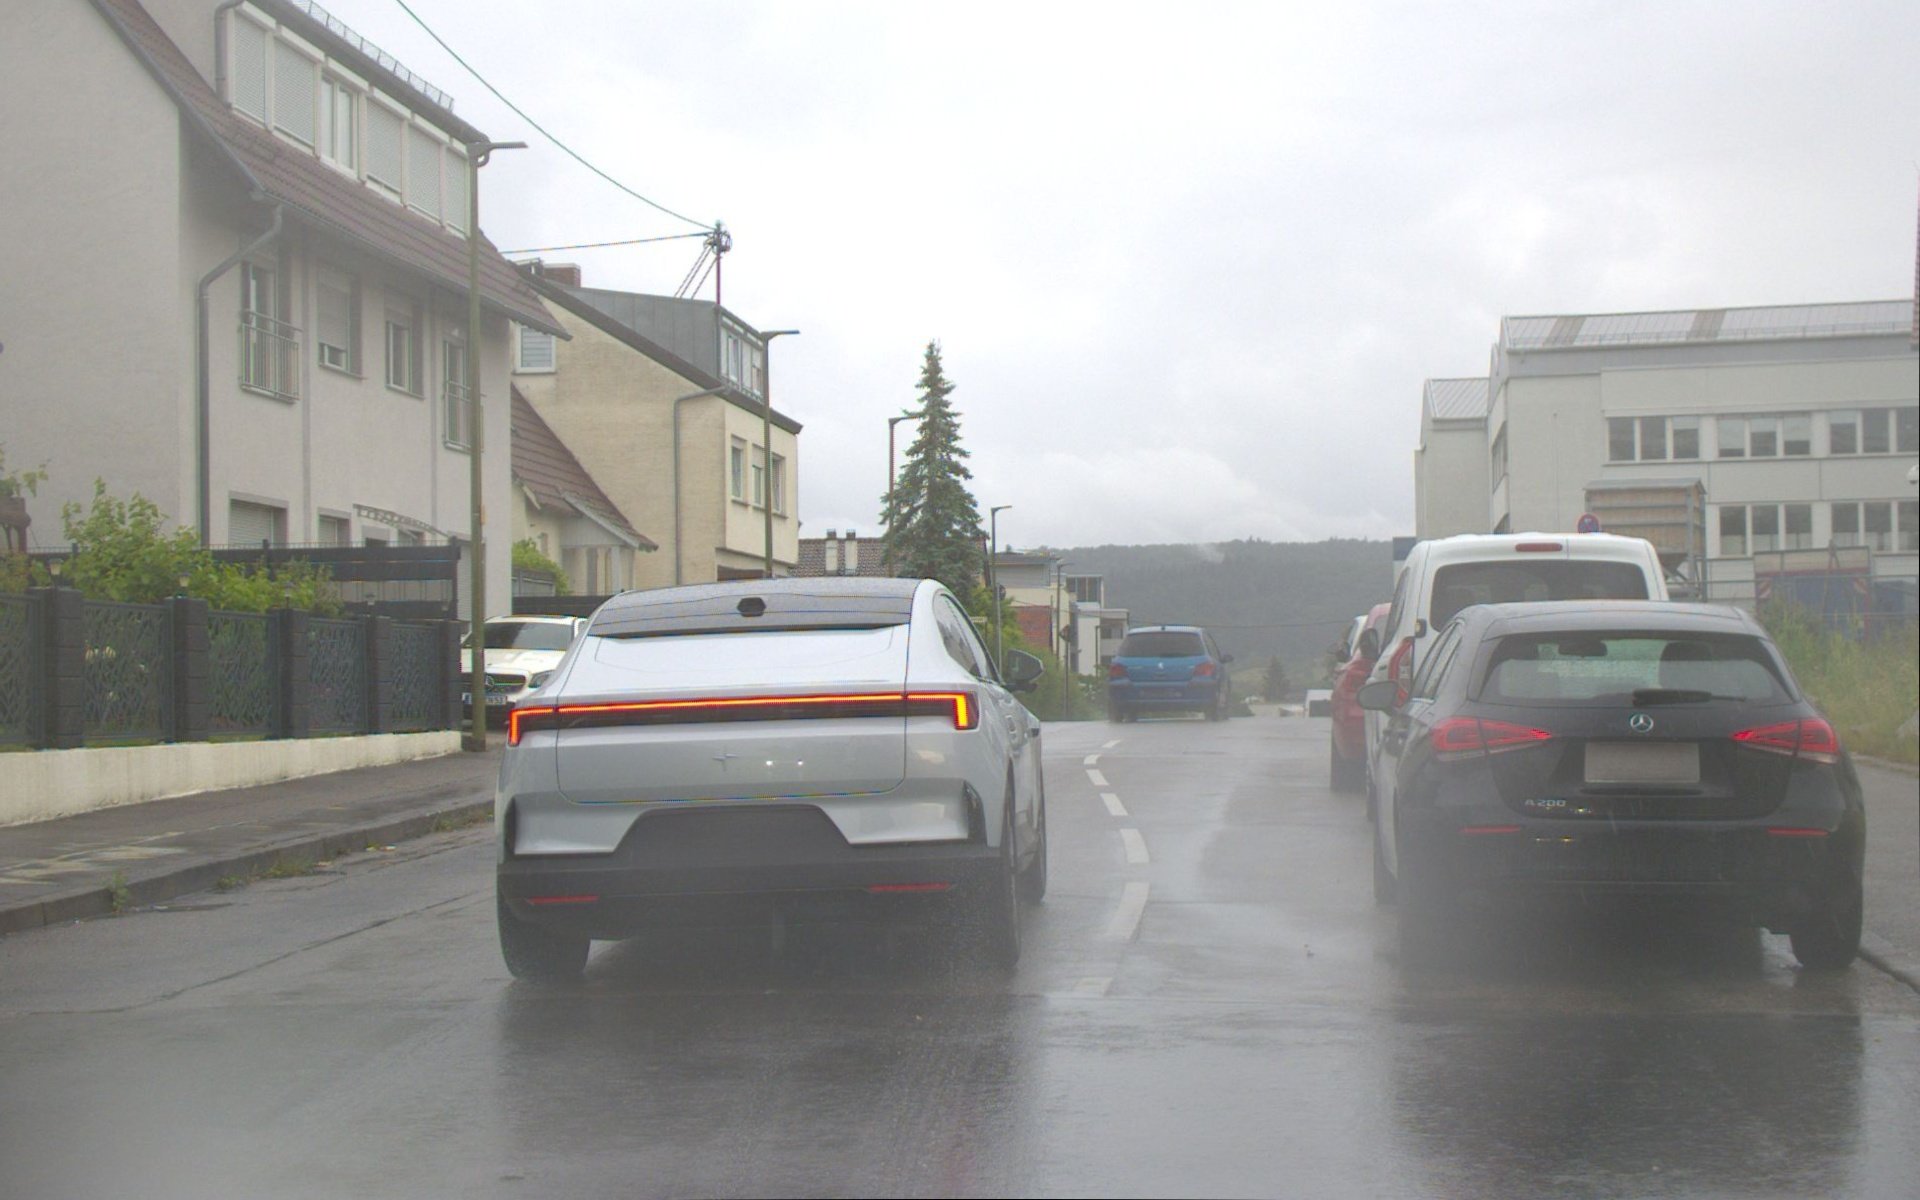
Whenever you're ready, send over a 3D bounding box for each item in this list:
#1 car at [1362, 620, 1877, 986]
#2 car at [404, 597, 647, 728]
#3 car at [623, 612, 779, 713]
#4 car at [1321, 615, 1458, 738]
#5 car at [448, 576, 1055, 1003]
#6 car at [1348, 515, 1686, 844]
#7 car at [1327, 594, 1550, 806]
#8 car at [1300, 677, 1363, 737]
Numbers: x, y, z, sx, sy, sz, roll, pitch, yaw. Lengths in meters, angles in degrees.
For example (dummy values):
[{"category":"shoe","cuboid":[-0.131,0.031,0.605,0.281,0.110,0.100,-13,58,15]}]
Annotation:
[{"category":"car","cuboid":[2.686,0.758,14.874,1.769,1.331,4.320,0,0,5]},{"category":"car","cuboid":[-5.492,0.782,44.136,1.994,1.505,4.894,3,0,6]},{"category":"car","cuboid":[-3.845,0.911,51.750,1.827,1.364,4.569,3,0,1]},{"category":"car","cuboid":[5.665,0.996,45.635,1.682,1.552,3.673,0,-1,5]},{"category":"car","cuboid":[-0.677,0.684,14.446,1.994,1.497,4.669,0,0,3]},{"category":"car","cuboid":[3.363,0.454,21.469,1.769,1.819,4.573,0,0,5]},{"category":"car","cuboid":[3.873,0.757,28.046,1.643,1.569,4.642,0,0,7]},{"category":"car","cuboid":[13.641,3.951,126.281,1.994,2.007,3.999,-1,-4,2]}]
